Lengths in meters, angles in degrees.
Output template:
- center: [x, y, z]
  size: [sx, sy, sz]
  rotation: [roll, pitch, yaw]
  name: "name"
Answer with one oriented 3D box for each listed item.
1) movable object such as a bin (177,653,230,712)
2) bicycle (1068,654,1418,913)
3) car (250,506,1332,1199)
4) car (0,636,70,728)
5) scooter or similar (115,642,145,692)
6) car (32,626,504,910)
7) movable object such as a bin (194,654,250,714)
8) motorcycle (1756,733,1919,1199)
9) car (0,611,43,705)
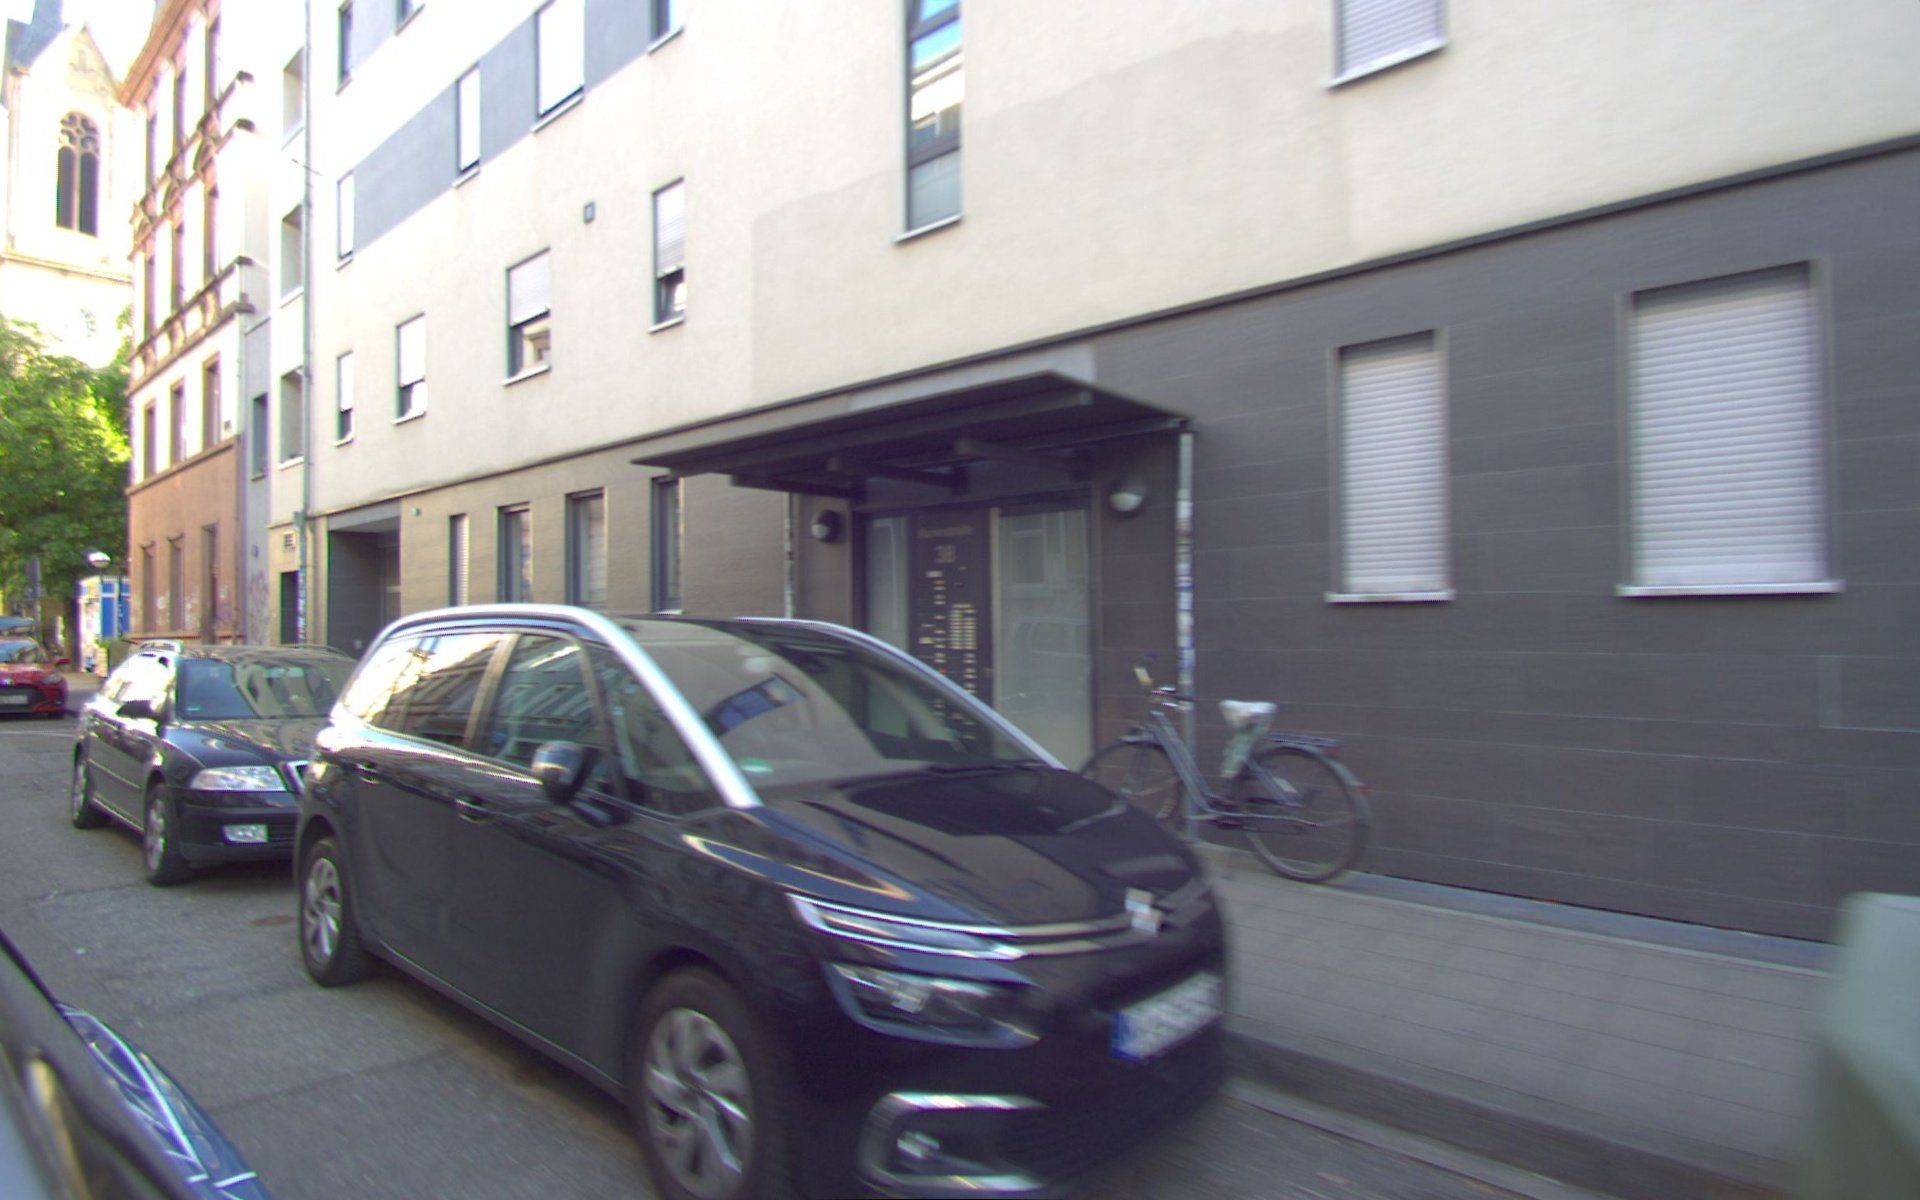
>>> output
- center: [-14.658, 1.591, 19.622]
  size: [0.748, 1.075, 0.653]
  rotation: [0, -1, -29]
  name: "movable object such as a bin"
- center: [1.444, 0.883, 5.425]
  size: [1.773, 1.173, 0.484]
  rotation: [-2, -5, 42]
  name: "bicycle"
- center: [-1.016, 0.802, 3.864]
  size: [4.242, 1.663, 1.699]
  rotation: [-3, -6, 40]
  name: "car"
- center: [-17.514, 1.409, 18.166]
  size: [3.867, 1.534, 1.732]
  rotation: [-1, -5, 41]
  name: "car"
- center: [-20.952, 1.673, 25.536]
  size: [1.391, 1.226, 0.344]
  rotation: [-2, -1, 41]
  name: "scooter or similar"
- center: [-5.288, 1.037, 7.477]
  size: [4.495, 1.490, 1.699]
  rotation: [-3, -6, 41]
  name: "car"
- center: [-13.928, 1.573, 19.115]
  size: [0.501, 1.075, 0.728]
  rotation: [-1, -1, 9]
  name: "movable object such as a bin"
- center: [2.335, 0.877, 1.268]
  size: [0.779, 1.262, 2.110]
  rotation: [1, -4, -8]
  name: "motorcycle"
- center: [-21.608, 1.274, 22.015]
  size: [5.296, 1.893, 1.999]
  rotation: [-3, -2, 42]
  name: "car"
